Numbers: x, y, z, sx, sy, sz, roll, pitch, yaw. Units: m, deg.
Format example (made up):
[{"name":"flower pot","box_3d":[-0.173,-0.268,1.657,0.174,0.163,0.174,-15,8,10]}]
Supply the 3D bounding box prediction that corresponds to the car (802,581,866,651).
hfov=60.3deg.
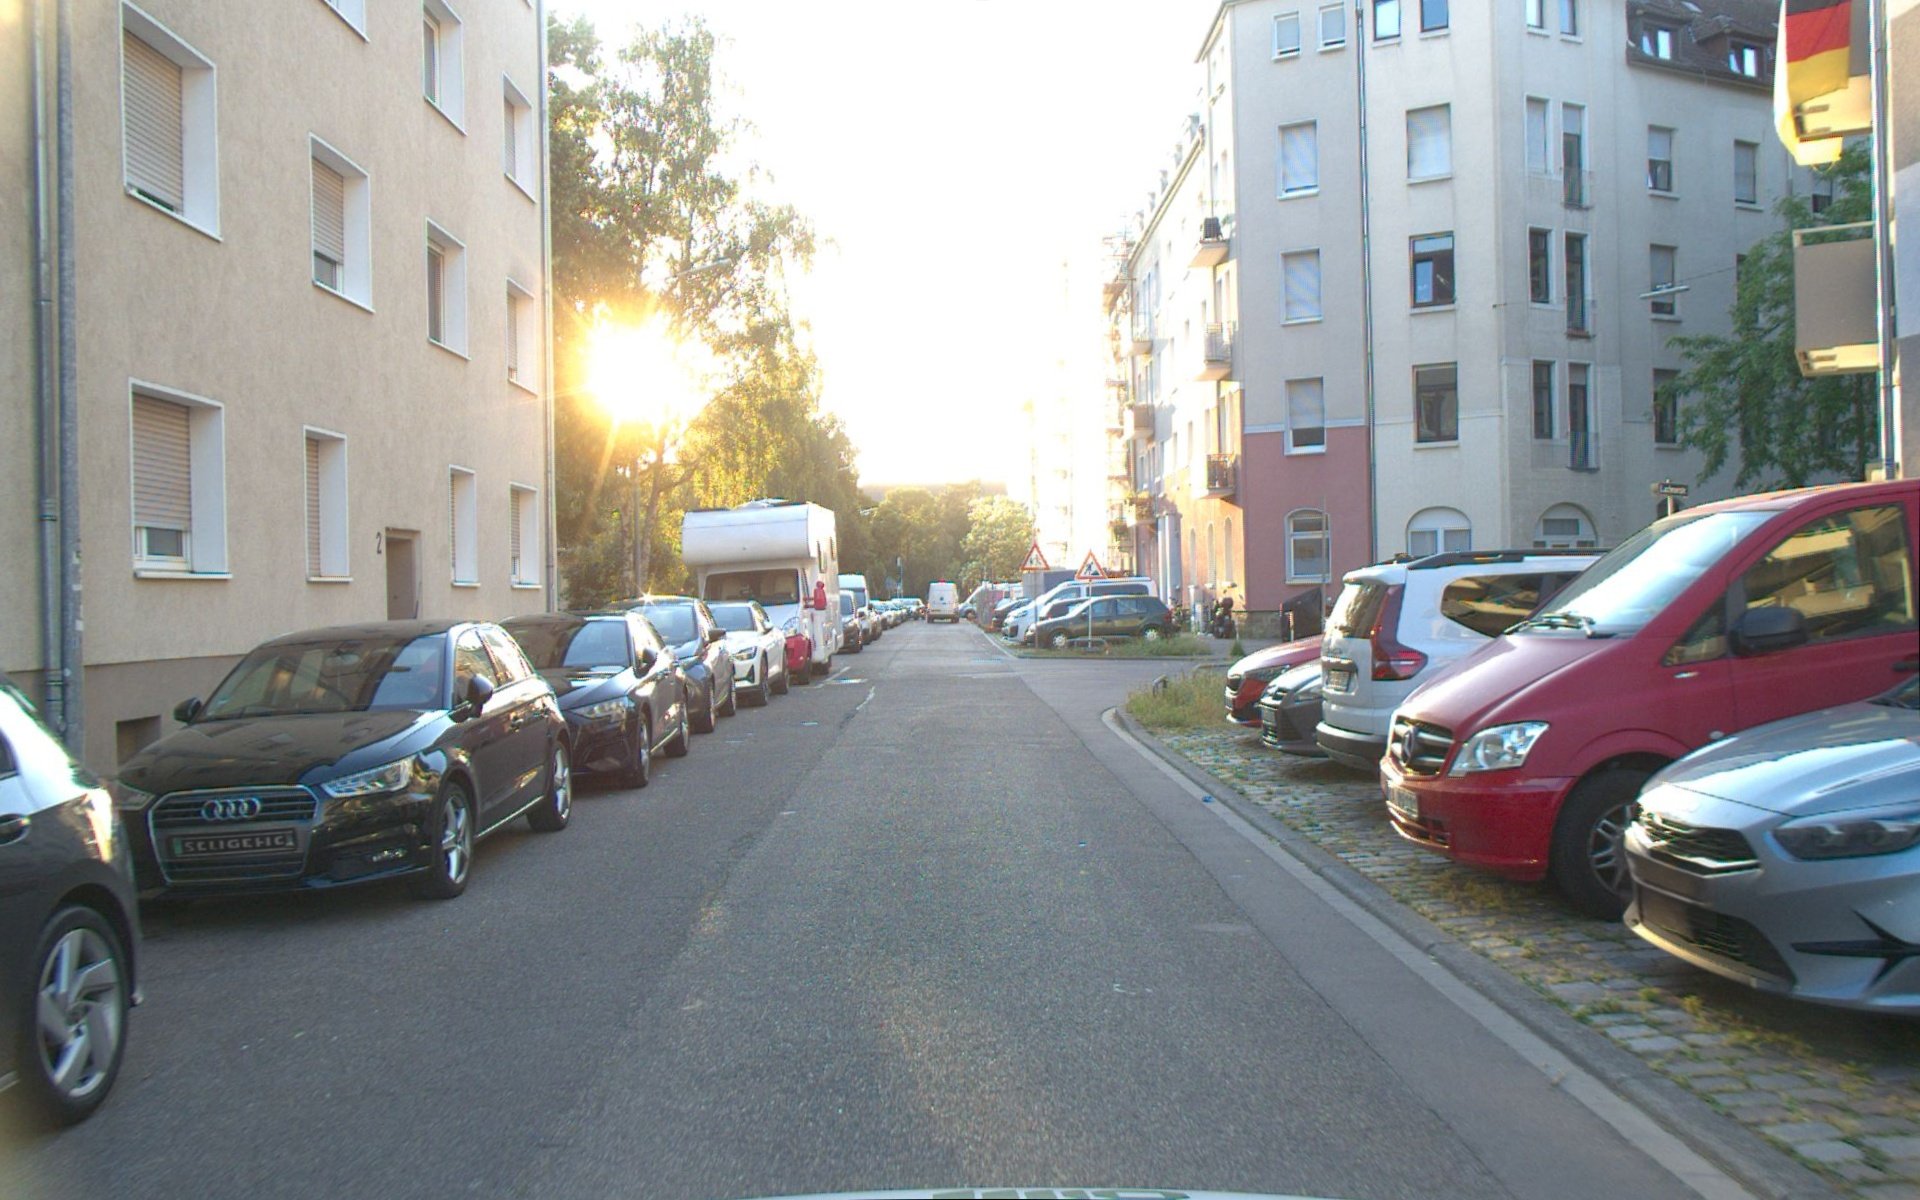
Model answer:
[{"name":"car","box_3d":[-3.638,0.450,48.372,1.620,1.862,3.874,-3,0,-2]}]

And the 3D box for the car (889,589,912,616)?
[{"name":"car","box_3d":[-4.543,0.180,125.480,1.620,1.862,3.874,-3,0,-2]}]

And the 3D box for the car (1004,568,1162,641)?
[{"name":"car","box_3d":[3.807,0.144,51.736,4.716,2.002,1.738,-3,0,-2]}]

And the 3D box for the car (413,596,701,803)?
[{"name":"car","box_3d":[-3.339,0.745,14.409,1.620,1.459,3.874,-3,0,-2]}]

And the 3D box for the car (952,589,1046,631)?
[{"name":"car","box_3d":[1.656,0.426,71.068,3.907,1.557,1.658,-3,0,-2]}]

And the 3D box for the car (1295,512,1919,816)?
[{"name":"car","box_3d":[4.611,0.376,11.164,4.237,1.666,1.817,-3,0,-2]}]

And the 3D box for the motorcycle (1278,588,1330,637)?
[{"name":"motorcycle","box_3d":[9.183,0.330,44.104,0.509,1.249,1.971,-1,0,39]}]

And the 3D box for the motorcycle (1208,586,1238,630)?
[{"name":"motorcycle","box_3d":[7.634,0.230,48.017,0.507,1.249,1.981,-1,0,-1]}]

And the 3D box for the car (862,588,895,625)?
[{"name":"car","box_3d":[-4.364,0.332,88.836,1.620,1.862,3.874,-3,0,-2]}]

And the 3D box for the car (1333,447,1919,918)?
[{"name":"car","box_3d":[4.483,0.288,8.342,4.627,1.942,2.058,-3,0,-2]}]

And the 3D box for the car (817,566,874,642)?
[{"name":"car","box_3d":[-4.079,0.137,59.481,1.734,2.488,5.143,-3,0,-2]}]

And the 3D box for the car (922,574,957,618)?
[{"name":"car","box_3d":[-1.432,-0.263,111.380,2.086,2.764,4.831,-3,0,-2]}]

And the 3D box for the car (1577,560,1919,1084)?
[{"name":"car","box_3d":[4.501,0.546,5.716,4.062,1.496,1.636,-3,0,-2]}]

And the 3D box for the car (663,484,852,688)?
[{"name":"car","box_3d":[-3.683,-0.247,31.882,2.567,3.325,7.696,-3,0,0]}]

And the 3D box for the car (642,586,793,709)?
[{"name":"car","box_3d":[-3.486,0.639,24.402,1.619,1.568,3.875,-3,0,-1]}]

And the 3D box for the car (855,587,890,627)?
[{"name":"car","box_3d":[-4.446,0.351,84.036,1.620,1.862,3.874,-3,0,-2]}]

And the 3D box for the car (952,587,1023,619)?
[{"name":"car","box_3d":[1.533,0.167,93.759,3.907,1.557,1.658,-3,0,-2]}]

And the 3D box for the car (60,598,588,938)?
[{"name":"car","box_3d":[-3.350,0.769,9.509,1.620,1.459,3.794,-3,0,-2]}]

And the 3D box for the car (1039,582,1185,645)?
[{"name":"car","box_3d":[4.292,0.373,47.040,3.907,1.557,1.658,-3,0,-2]}]

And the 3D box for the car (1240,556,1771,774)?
[{"name":"car","box_3d":[4.345,0.500,13.534,3.735,1.453,1.634,-3,0,-2]}]

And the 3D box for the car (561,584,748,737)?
[{"name":"car","box_3d":[-3.619,0.665,20.203,1.620,1.592,3.874,-3,0,-2]}]

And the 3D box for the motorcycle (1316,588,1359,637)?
[{"name":"motorcycle","box_3d":[10.017,0.311,43.846,0.508,1.249,1.977,-1,0,31]}]

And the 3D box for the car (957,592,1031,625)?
[{"name":"car","box_3d":[1.835,0.450,89.605,3.907,1.557,1.658,-3,0,-2]}]

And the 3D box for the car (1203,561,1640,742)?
[{"name":"car","box_3d":[4.409,0.483,16.169,3.735,1.453,1.634,-3,0,-2]}]

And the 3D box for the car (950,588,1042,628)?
[{"name":"car","box_3d":[1.568,0.341,73.034,3.907,1.557,1.658,-3,0,-2]}]

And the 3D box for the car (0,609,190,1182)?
[{"name":"car","box_3d":[-3.269,0.807,3.309,1.626,1.459,4.029,-3,0,-2]}]

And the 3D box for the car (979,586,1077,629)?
[{"name":"car","box_3d":[2.800,0.304,68.594,3.907,1.557,1.658,-3,0,-2]}]

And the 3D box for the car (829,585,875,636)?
[{"name":"car","box_3d":[-4.263,0.406,65.719,1.620,1.862,3.874,-3,0,-2]}]

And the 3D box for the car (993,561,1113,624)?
[{"name":"car","box_3d":[3.223,-0.265,57.855,3.909,2.049,1.998,-2,0,-5]}]

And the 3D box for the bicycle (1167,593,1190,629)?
[{"name":"bicycle","box_3d":[7.722,0.379,58.550,0.507,1.249,1.981,-1,0,-1]}]

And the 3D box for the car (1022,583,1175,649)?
[{"name":"car","box_3d":[3.720,0.416,44.712,3.907,1.557,1.658,-3,0,-2]}]

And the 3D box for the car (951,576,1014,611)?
[{"name":"car","box_3d":[1.735,-0.507,127.619,4.716,2.450,1.738,-3,0,-2]}]
